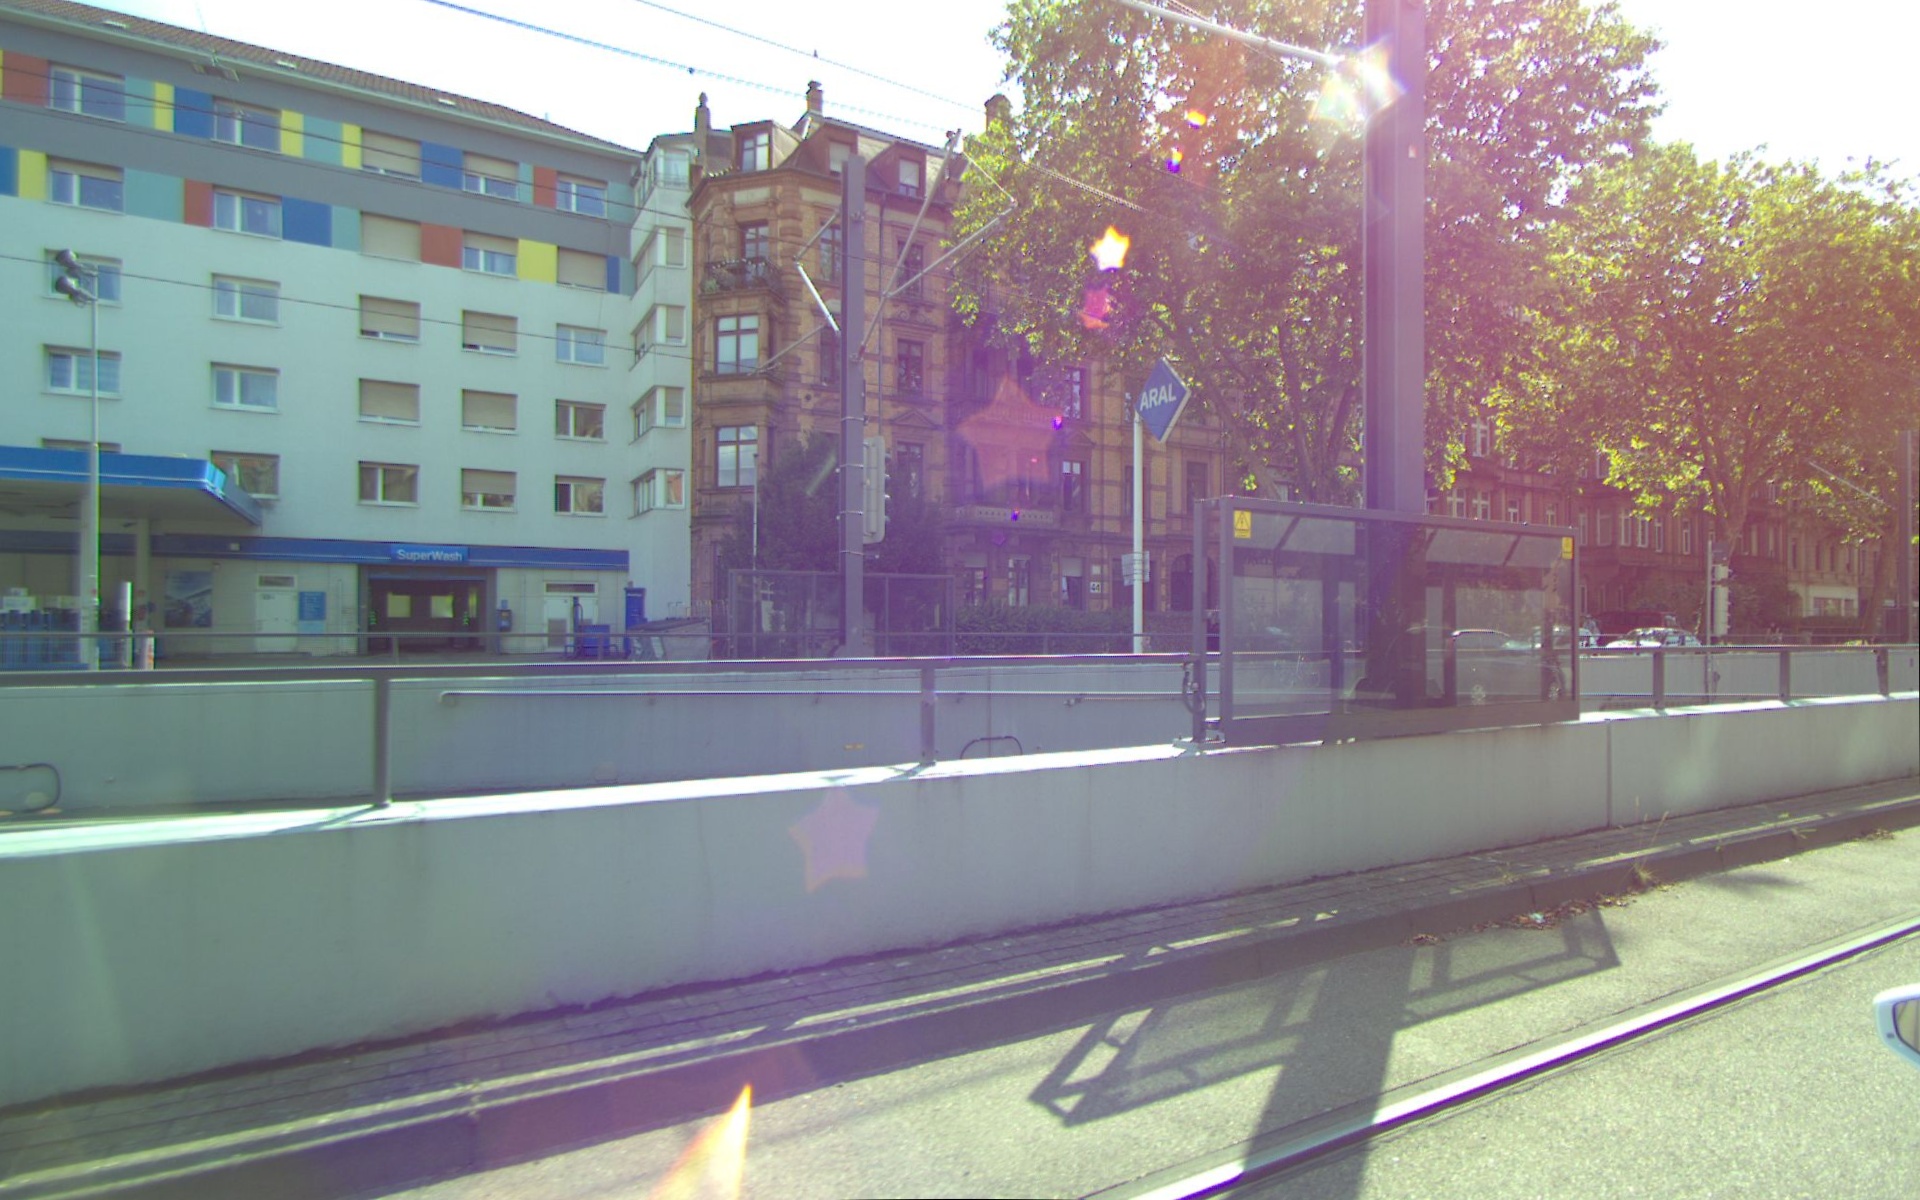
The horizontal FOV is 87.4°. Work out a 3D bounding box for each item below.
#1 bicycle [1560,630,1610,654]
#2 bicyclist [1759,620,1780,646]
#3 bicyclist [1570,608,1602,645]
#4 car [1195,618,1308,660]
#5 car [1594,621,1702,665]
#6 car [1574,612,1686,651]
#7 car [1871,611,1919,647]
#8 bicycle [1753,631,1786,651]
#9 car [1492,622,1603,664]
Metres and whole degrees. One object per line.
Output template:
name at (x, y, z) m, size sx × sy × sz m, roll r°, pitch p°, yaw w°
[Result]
bicycle at (25.010, 1.681, 40.180) m, size 2.340 × 0.925 × 0.668 m, roll 1°, pitch -1°, yaw -30°
bicyclist at (38.696, 1.569, 48.022) m, size 0.715 × 1.248 × 0.532 m, roll 1°, pitch -1°, yaw -30°
bicyclist at (25.069, 1.060, 40.212) m, size 1.032 × 1.475 × 0.685 m, roll 1°, pitch -1°, yaw -30°
car at (11.009, 1.441, 38.220) m, size 1.974 × 1.503 × 3.973 m, roll 1°, pitch -1°, yaw -27°
car at (24.683, 1.522, 35.995) m, size 3.955 × 1.501 × 1.636 m, roll 1°, pitch -4°, yaw -30°
car at (34.282, 1.581, 51.507) m, size 1.977 × 1.943 × 4.380 m, roll 1°, pitch -1°, yaw -30°
car at (46.407, 1.396, 48.848) m, size 3.677 × 1.713 × 1.715 m, roll 0°, pitch -2°, yaw -24°
bicycle at (38.718, 1.947, 48.035) m, size 2.123 × 0.925 × 0.532 m, roll 1°, pitch -1°, yaw -30°
car at (19.185, 1.397, 32.776) m, size 3.447 × 1.320 × 1.492 m, roll 1°, pitch -3°, yaw -28°
